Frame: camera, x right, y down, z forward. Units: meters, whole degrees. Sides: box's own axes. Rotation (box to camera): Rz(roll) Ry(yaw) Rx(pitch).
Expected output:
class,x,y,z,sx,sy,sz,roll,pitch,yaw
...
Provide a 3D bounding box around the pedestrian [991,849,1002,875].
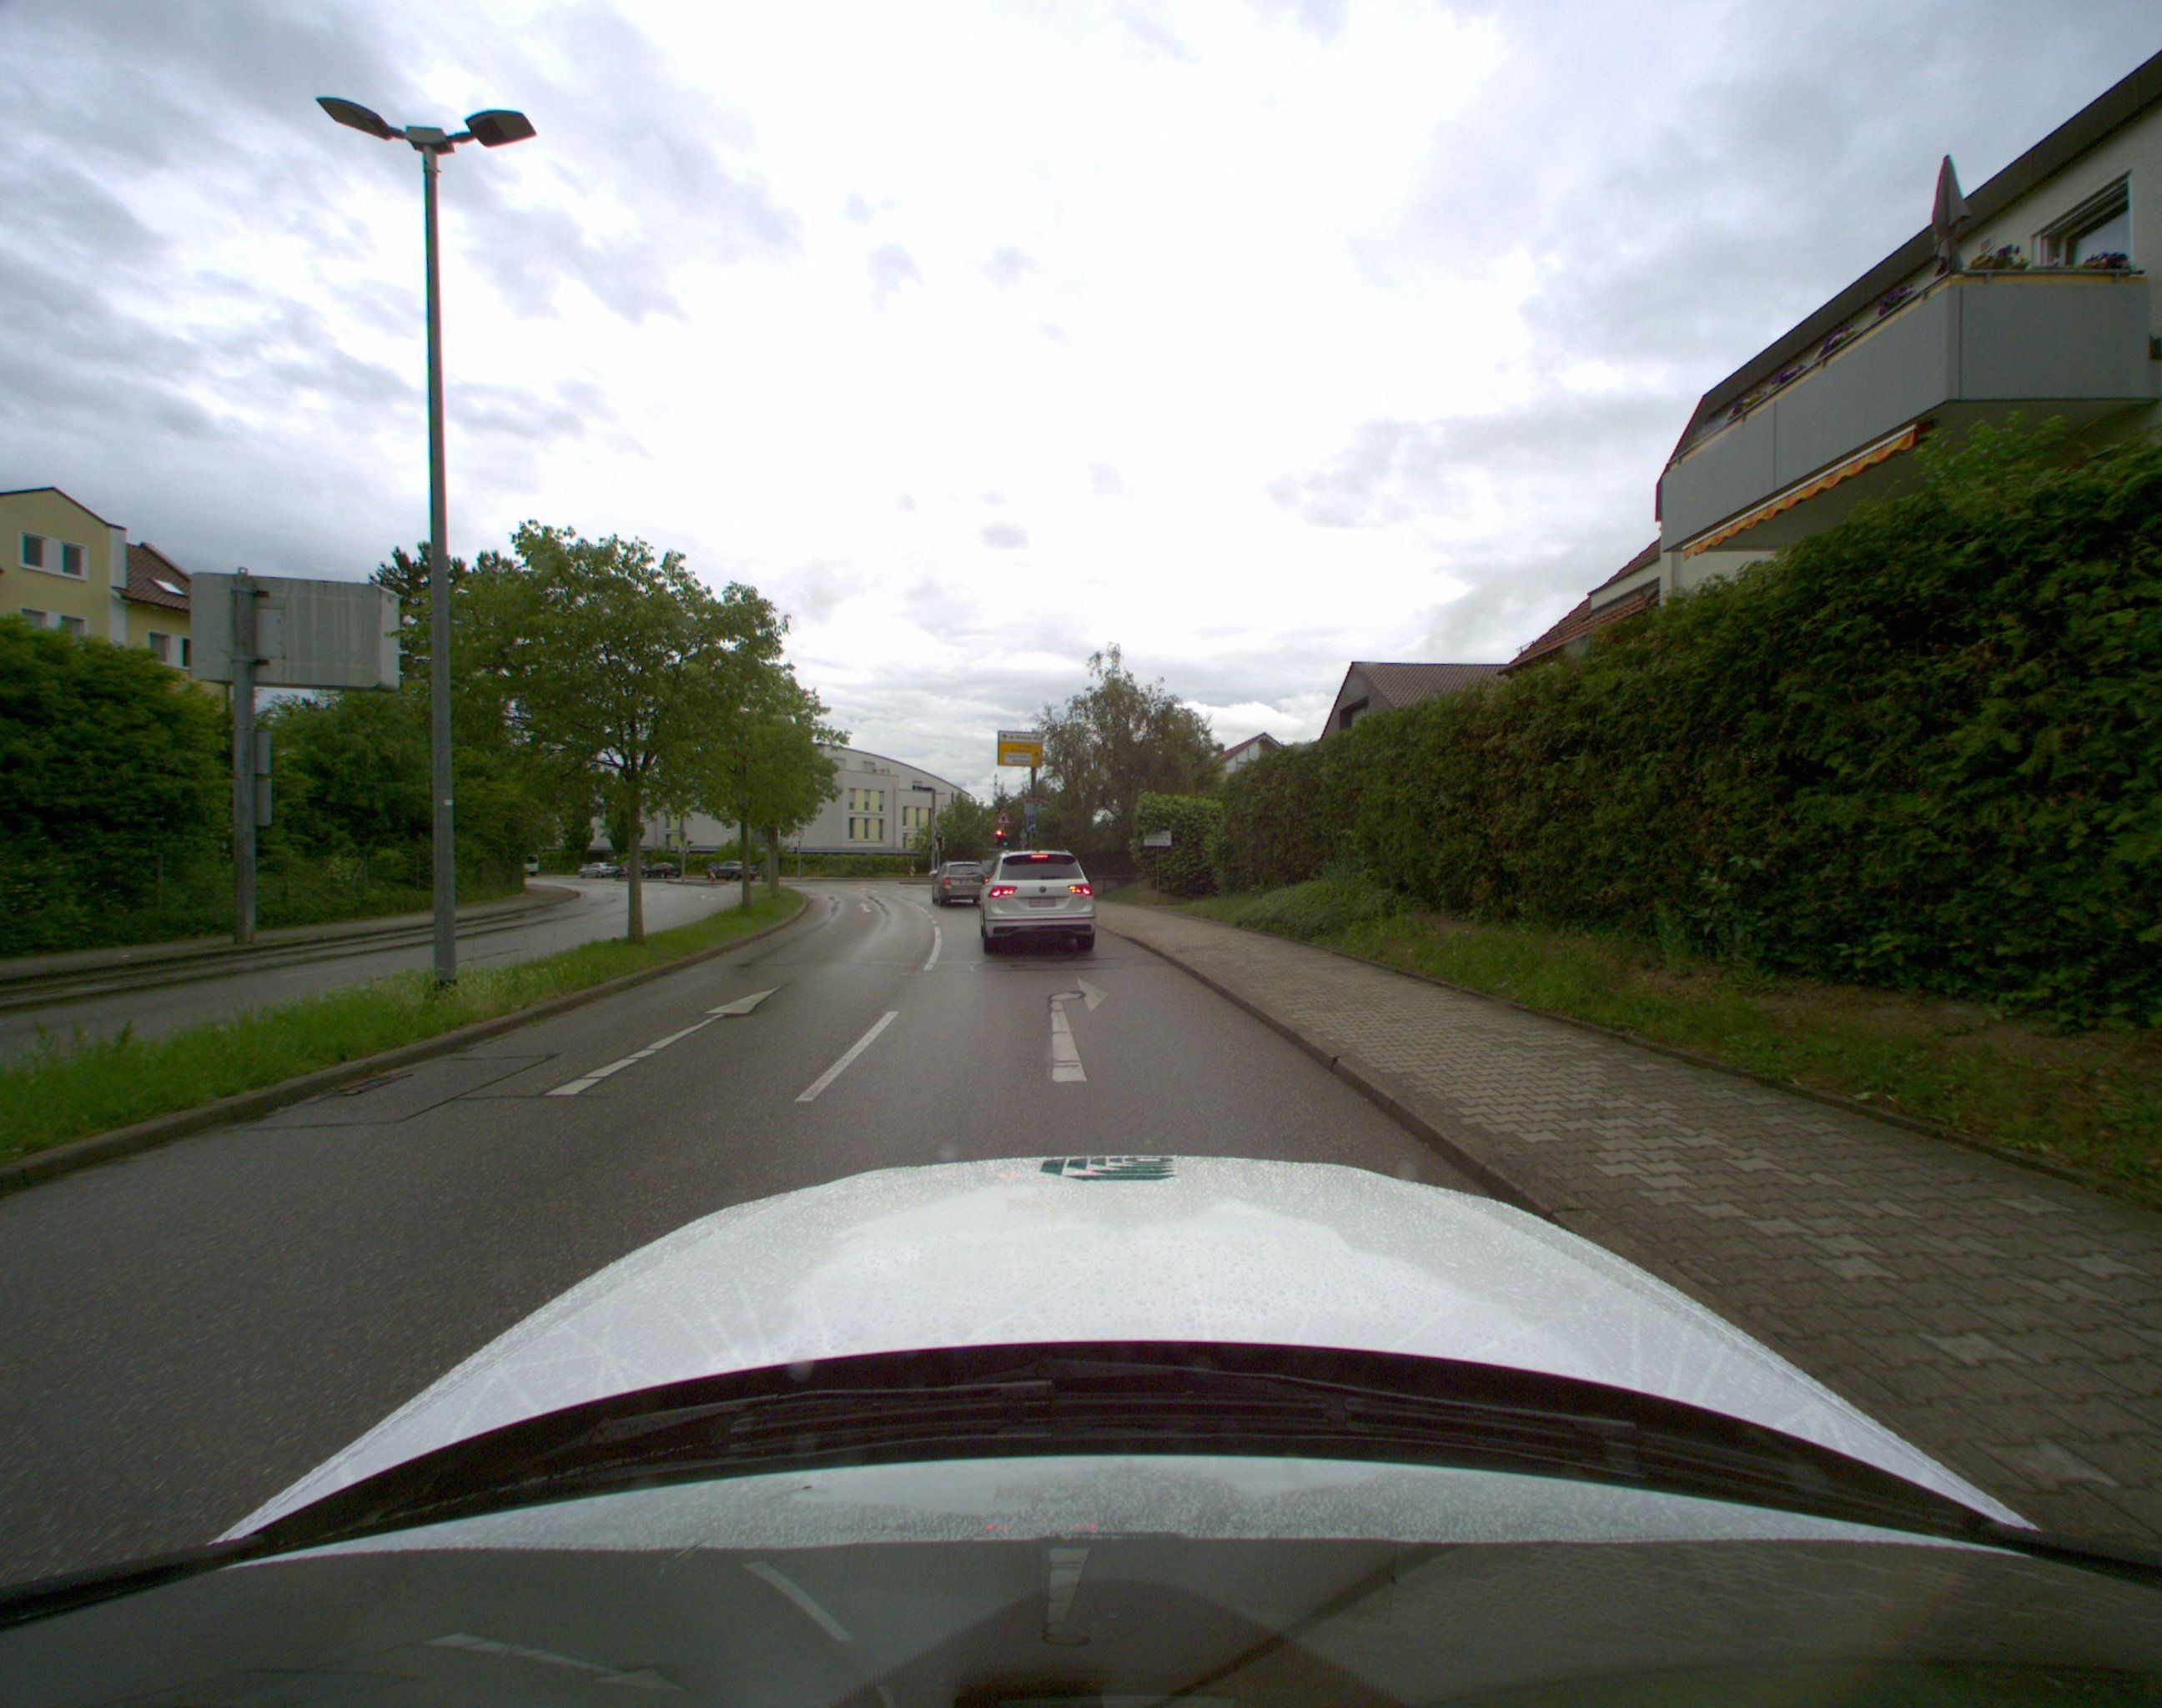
class,x,y,z,sx,sy,sz,roll,pitch,yaw
pedestrian,-6.821,0.653,65.743,0.801,2.013,0.845,0,2,-18

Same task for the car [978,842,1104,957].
class,x,y,z,sx,sy,sz,roll,pitch,yaw
car,-0.833,0.696,14.619,1.918,1.722,4.255,-1,0,-6

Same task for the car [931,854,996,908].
class,x,y,z,sx,sy,sz,roll,pitch,yaw
car,-4.073,0.875,27.849,1.767,1.509,3.982,2,2,-14

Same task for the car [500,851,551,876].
class,x,y,z,sx,sy,sz,roll,pitch,yaw
car,-60.062,1.034,88.062,5.188,2.414,2.617,-3,-1,31

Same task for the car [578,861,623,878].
class,x,y,z,sx,sy,sz,roll,pitch,yaw
car,-47.159,1.478,79.946,3.949,1.555,2.012,1,0,29

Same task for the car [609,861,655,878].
class,x,y,z,sx,sy,sz,roll,pitch,yaw
car,-42.949,1.466,77.933,3.949,1.555,2.012,1,0,29

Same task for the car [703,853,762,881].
class,x,y,z,sx,sy,sz,roll,pitch,yaw
car,-28.138,1.023,65.747,3.957,2.013,1.990,3,2,16

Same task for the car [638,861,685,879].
class,x,y,z,sx,sy,sz,roll,pitch,yaw
car,-39.007,1.463,75.738,3.949,1.555,2.012,0,1,29

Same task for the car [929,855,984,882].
class,x,y,z,sx,sy,sz,roll,pitch,yaw
car,-9.302,1.072,60.964,3.986,1.758,1.994,3,2,-9

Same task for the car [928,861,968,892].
class,x,y,z,sx,sy,sz,roll,pitch,yaw
car,-6.669,1.109,40.815,1.851,1.429,3.986,-1,-1,-10
